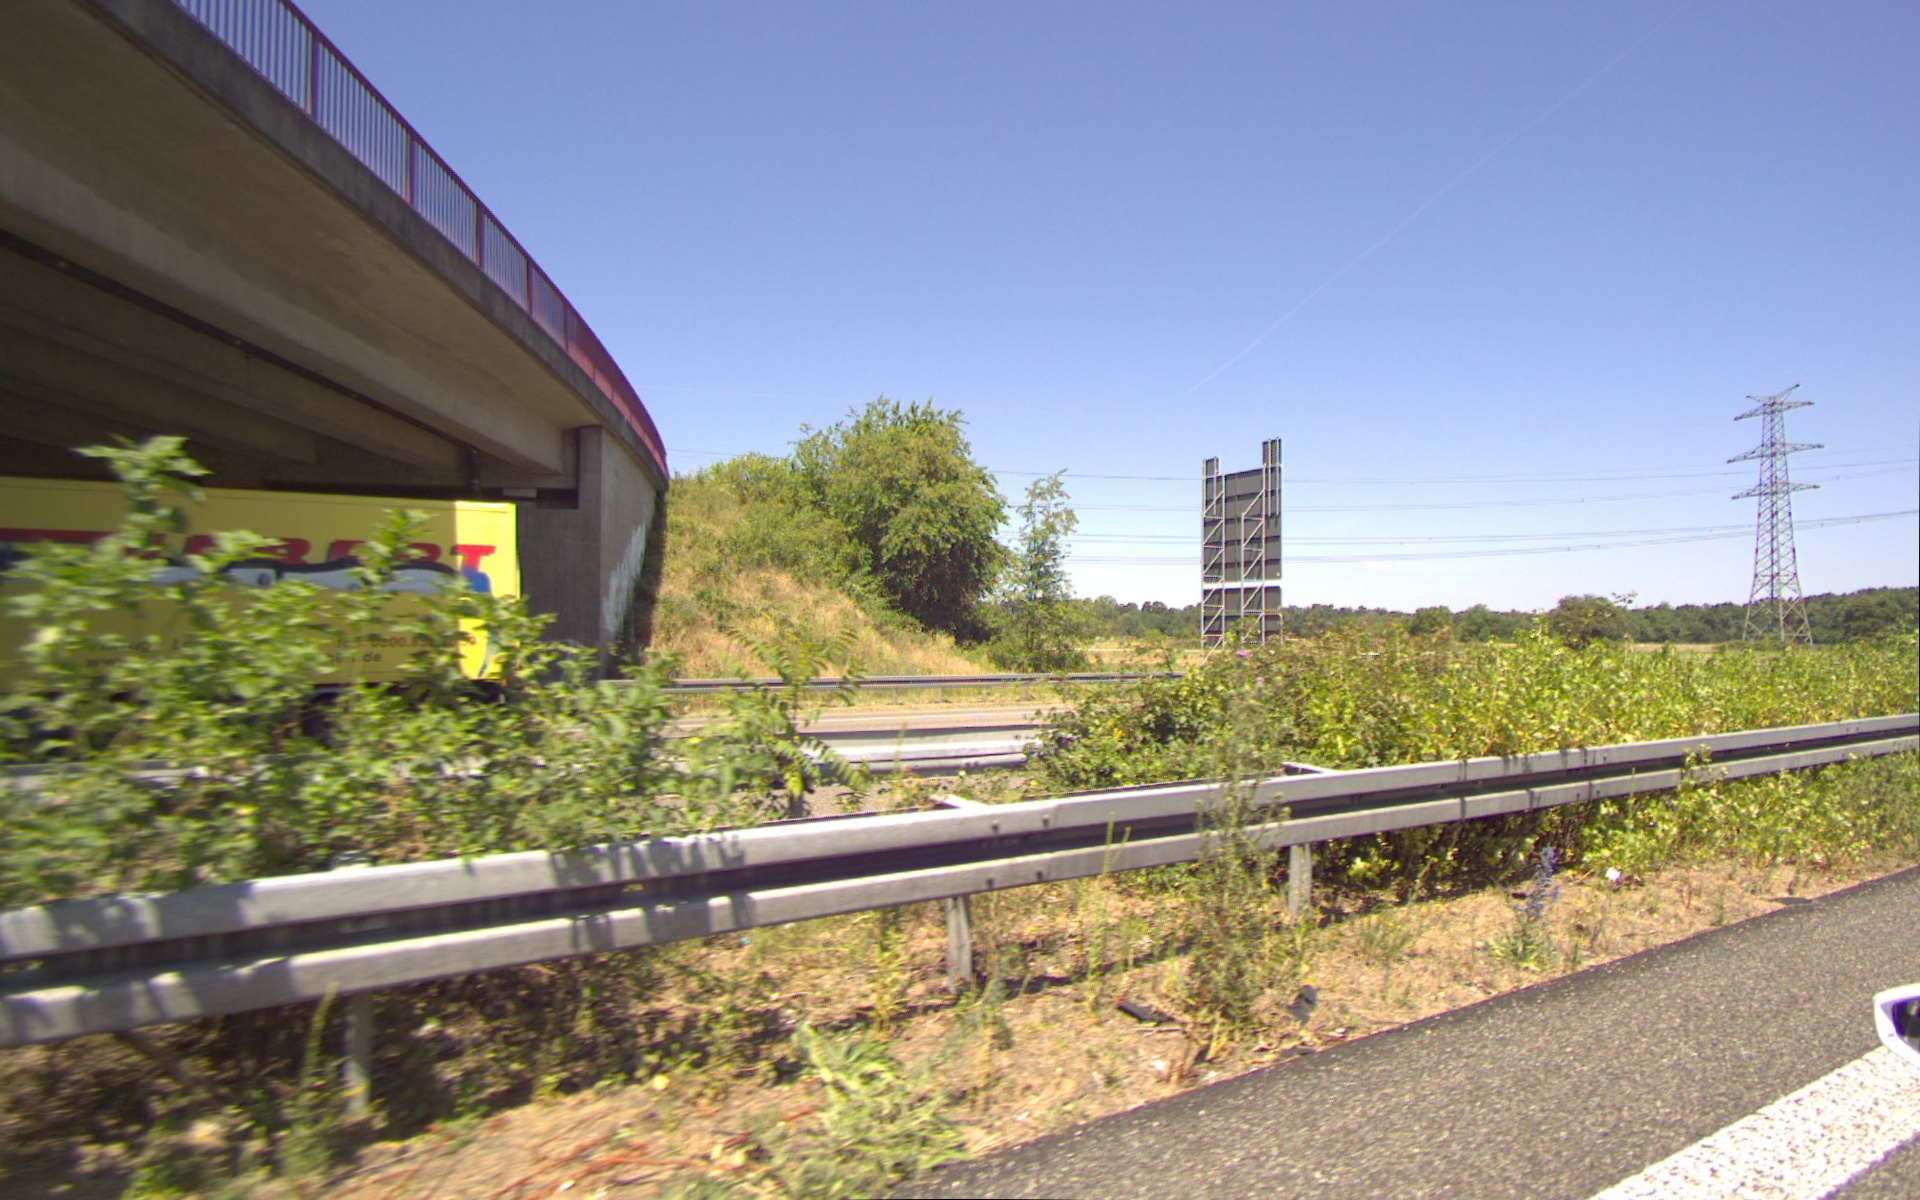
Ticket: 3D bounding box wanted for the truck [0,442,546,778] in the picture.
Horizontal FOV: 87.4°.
[{"bbox_3d":[-10.641,0.156,14.075,8.559,3.914,3.495,1,-1,-30],"label":"truck"}]
